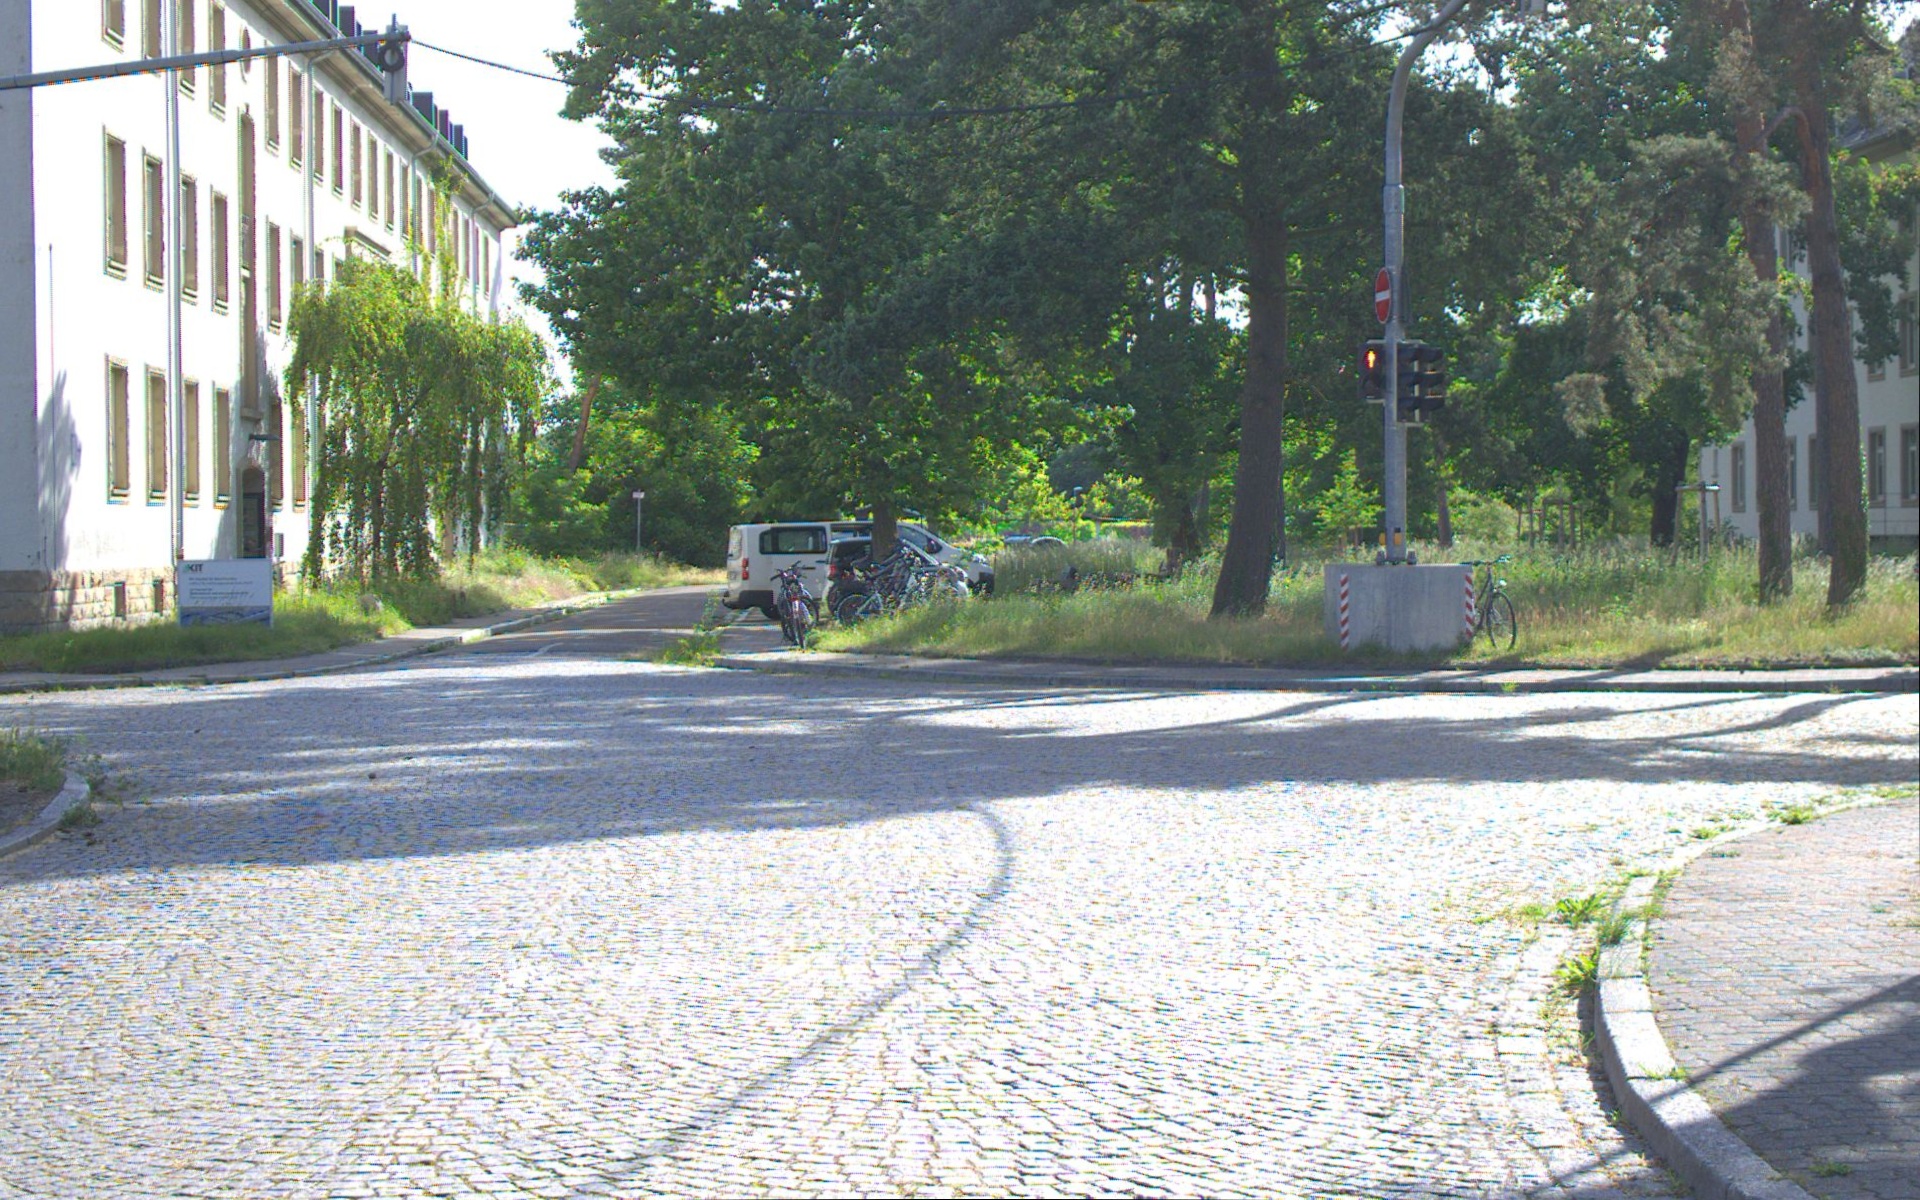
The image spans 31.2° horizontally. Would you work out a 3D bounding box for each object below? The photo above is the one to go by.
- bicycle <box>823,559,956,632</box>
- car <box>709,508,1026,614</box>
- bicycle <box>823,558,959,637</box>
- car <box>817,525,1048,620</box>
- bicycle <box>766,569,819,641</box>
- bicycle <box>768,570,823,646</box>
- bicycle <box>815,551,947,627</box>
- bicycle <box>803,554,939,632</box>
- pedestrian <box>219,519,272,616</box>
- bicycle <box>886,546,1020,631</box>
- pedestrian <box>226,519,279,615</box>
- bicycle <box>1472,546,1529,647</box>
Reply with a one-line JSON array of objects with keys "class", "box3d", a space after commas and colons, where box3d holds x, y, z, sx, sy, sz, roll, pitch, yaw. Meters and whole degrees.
[{"class": "bicycle", "box3d": [-1.014, -0.073, 49.297, 1.854, 1.027, 0.750, 0, 1, -5]}, {"class": "car", "box3d": [-1.848, -0.772, 67.297, 5.929, 2.007, 2.476, 0, 1, -9]}, {"class": "bicycle", "box3d": [-1.010, -0.044, 50.097, 1.940, 1.125, 0.750, 0, 1, -5]}, {"class": "car", "box3d": [-0.516, -0.521, 63.083, 3.986, 1.678, 1.848, 0, 1, -9]}, {"class": "bicycle", "box3d": [-2.332, 0.060, 47.716, 0.695, 0.968, 1.861, 0, 1, -4]}, {"class": "bicycle", "box3d": [-2.199, 0.097, 45.779, 0.695, 0.968, 1.861, 0, 1, -4]}, {"class": "bicycle", "box3d": [-1.206, -0.175, 52.402, 1.940, 1.125, 0.648, 0, 1, -7]}, {"class": "bicycle", "box3d": [-1.326, -0.110, 51.305, 1.940, 1.125, 0.648, -1, 1, -28]}, {"class": "pedestrian", "box3d": [-13.453, -0.612, 64.770, 0.812, 1.811, 0.555, 0, 1, 9]}, {"class": "bicycle", "box3d": [-0.105, -0.174, 50.822, 1.940, 1.231, 0.485, 0, 1, -5]}, {"class": "pedestrian", "box3d": [-13.526, -0.632, 65.729, 0.767, 1.811, 0.682, 0, 1, 9]}, {"class": "bicycle", "box3d": [5.867, -0.043, 37.344, 0.466, 1.076, 1.174, 0, 1, 2]}]
